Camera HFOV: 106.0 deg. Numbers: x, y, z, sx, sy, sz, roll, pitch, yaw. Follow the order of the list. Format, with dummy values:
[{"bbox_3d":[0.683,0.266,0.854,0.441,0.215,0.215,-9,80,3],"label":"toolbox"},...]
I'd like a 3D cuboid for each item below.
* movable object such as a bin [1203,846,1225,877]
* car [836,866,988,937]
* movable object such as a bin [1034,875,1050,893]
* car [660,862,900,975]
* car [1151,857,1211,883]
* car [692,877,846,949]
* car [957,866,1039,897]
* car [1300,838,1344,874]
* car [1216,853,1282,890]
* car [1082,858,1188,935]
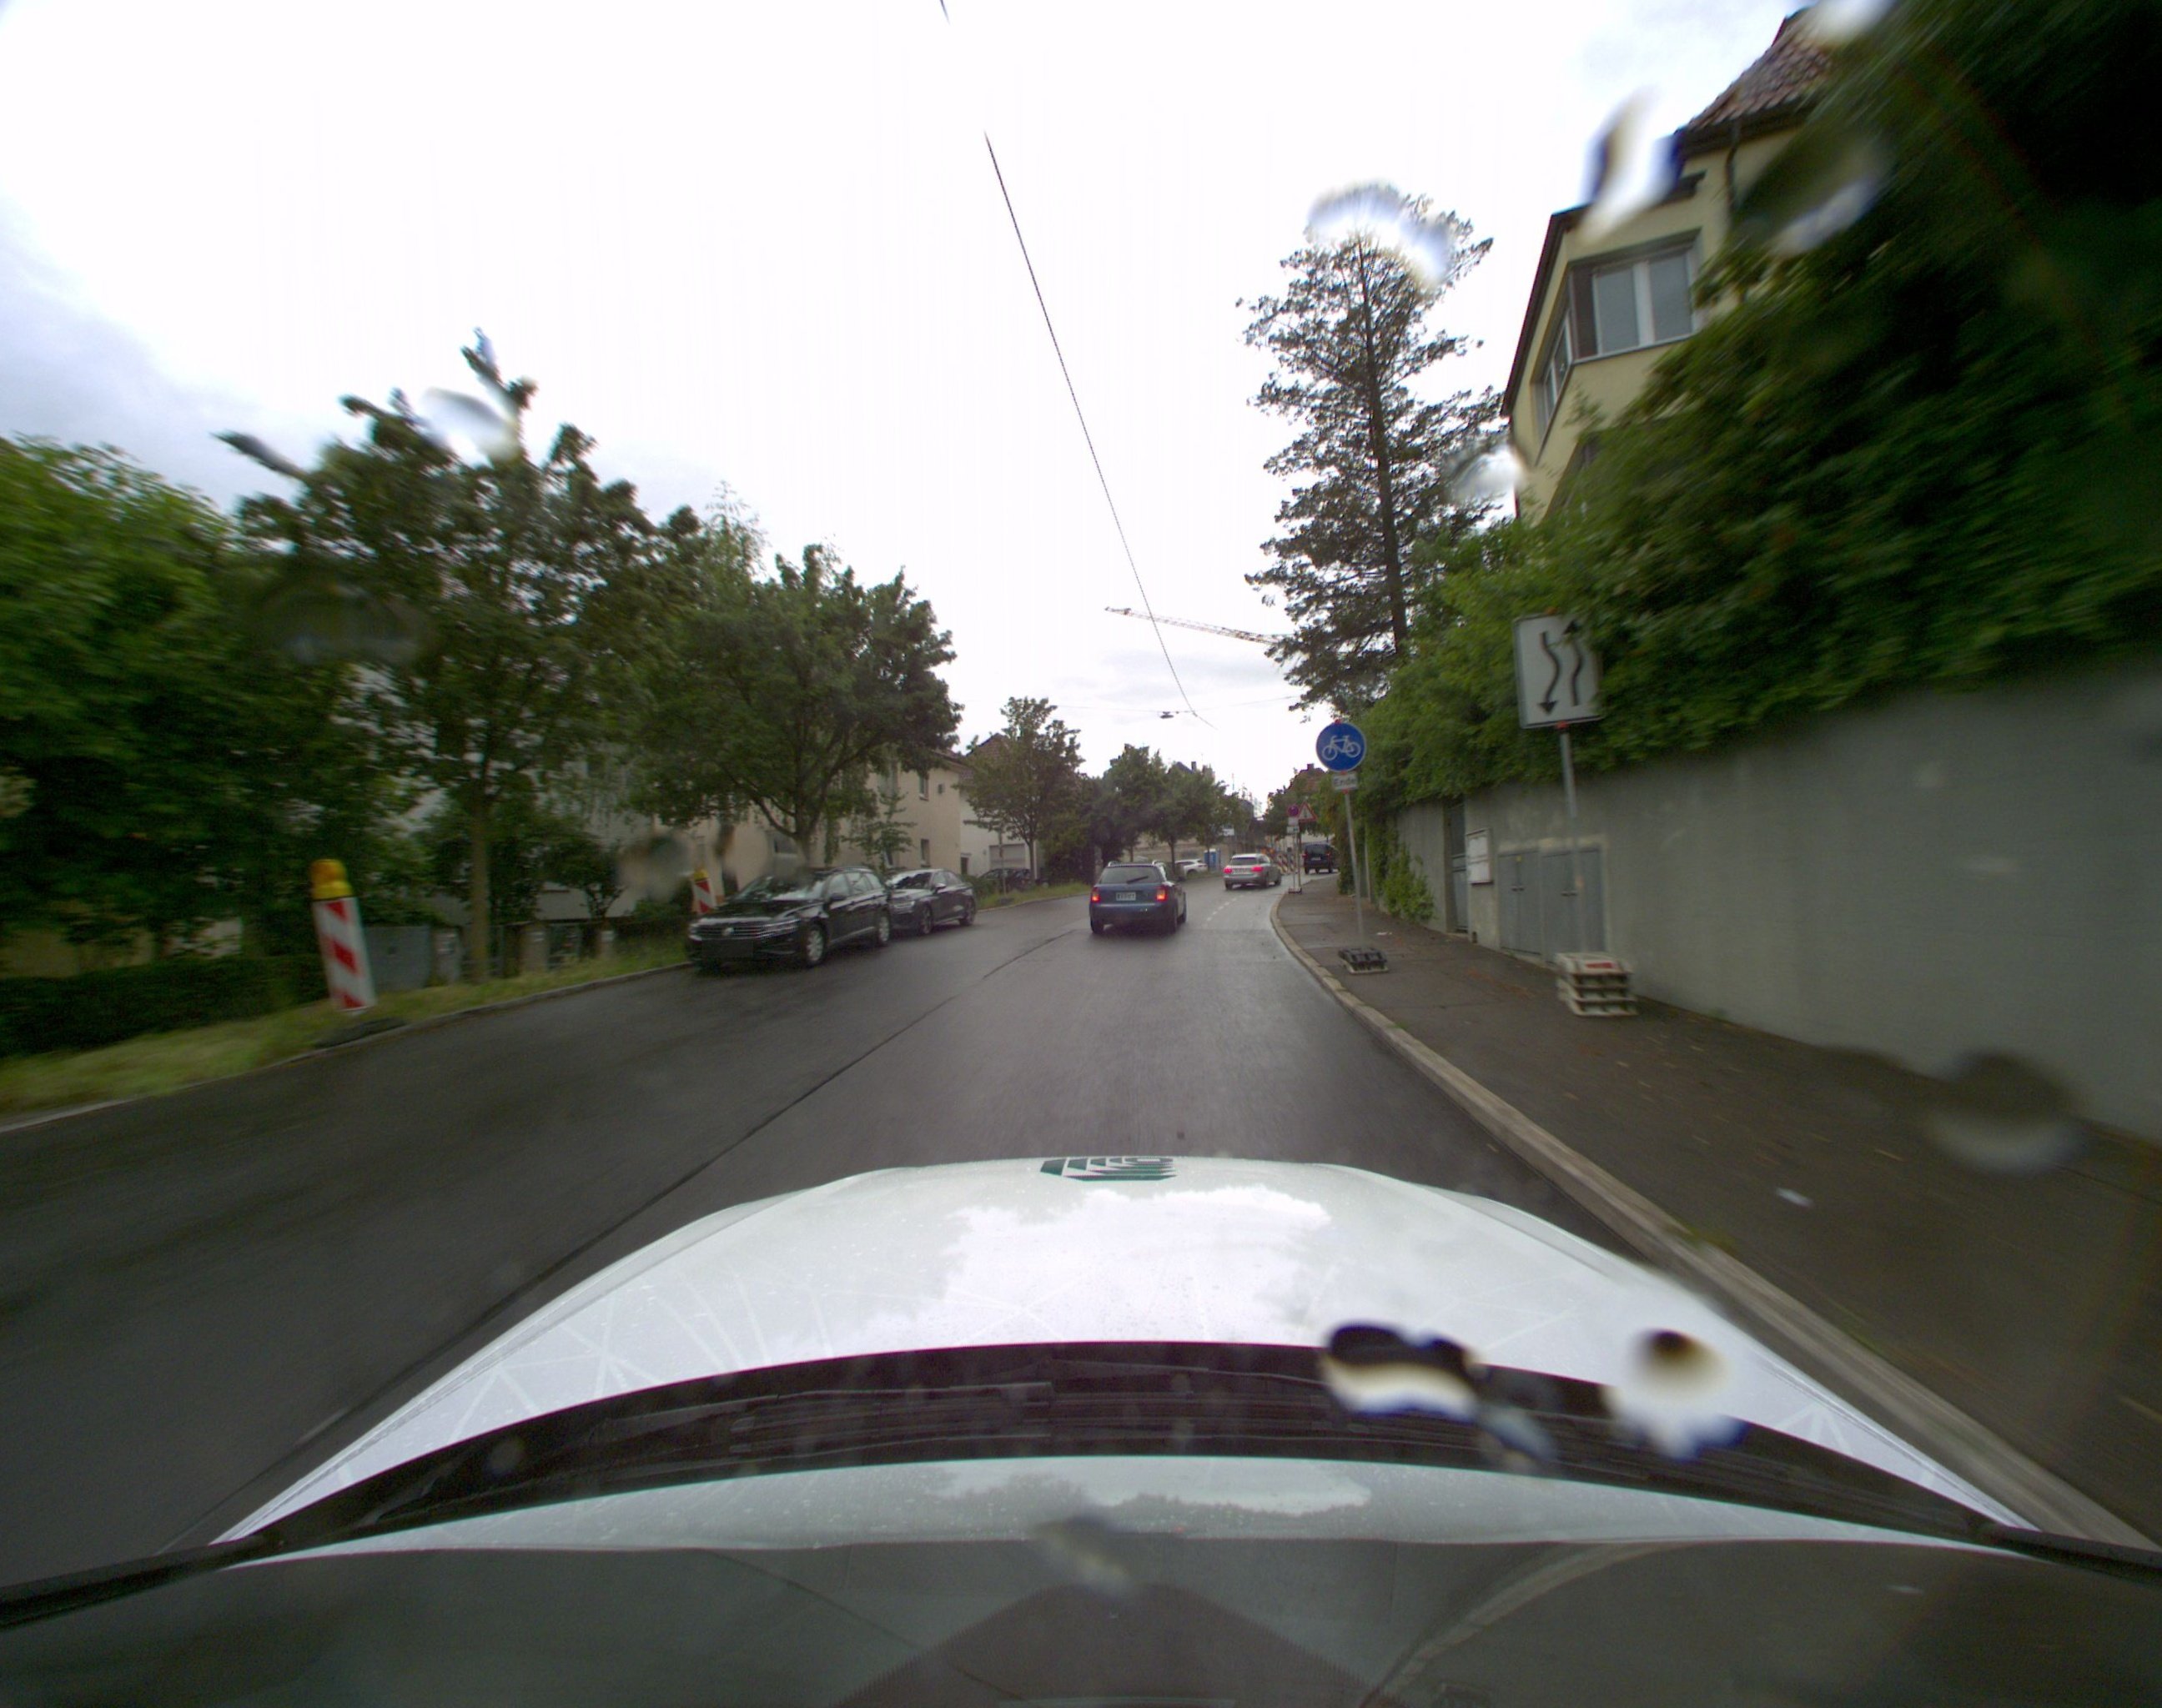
[{"bbox_3d":[11.328,0.623,69.400,1.300,2.505,1.394,-5,-1,25],"label":"movable object such as a bin"},{"bbox_3d":[-3.708,1.008,18.761,1.695,1.382,4.545,-2,-1,12],"label":"car"},{"bbox_3d":[-2.132,1.632,44.515,0.663,0.921,0.595,-2,0,22],"label":"movable object such as a bin"},{"bbox_3d":[-4.580,0.896,13.242,1.723,1.484,4.539,-1,-1,7],"label":"car"},{"bbox_3d":[7.891,1.260,64.488,4.159,1.604,1.961,-7,-3,23],"label":"car"},{"bbox_3d":[-9.853,1.844,25.714,4.202,1.504,1.924,-11,-4,21],"label":"car"},{"bbox_3d":[-4.419,1.422,43.268,3.906,1.543,1.873,0,0,21],"label":"car"},{"bbox_3d":[14.662,0.118,49.421,1.714,1.894,4.079,-7,-3,26],"label":"car"},{"bbox_3d":[7.304,0.727,35.029,1.892,1.388,4.374,-3,-1,23],"label":"car"},{"bbox_3d":[1.271,0.835,17.481,1.766,1.439,4.012,-1,-1,11],"label":"car"}]
